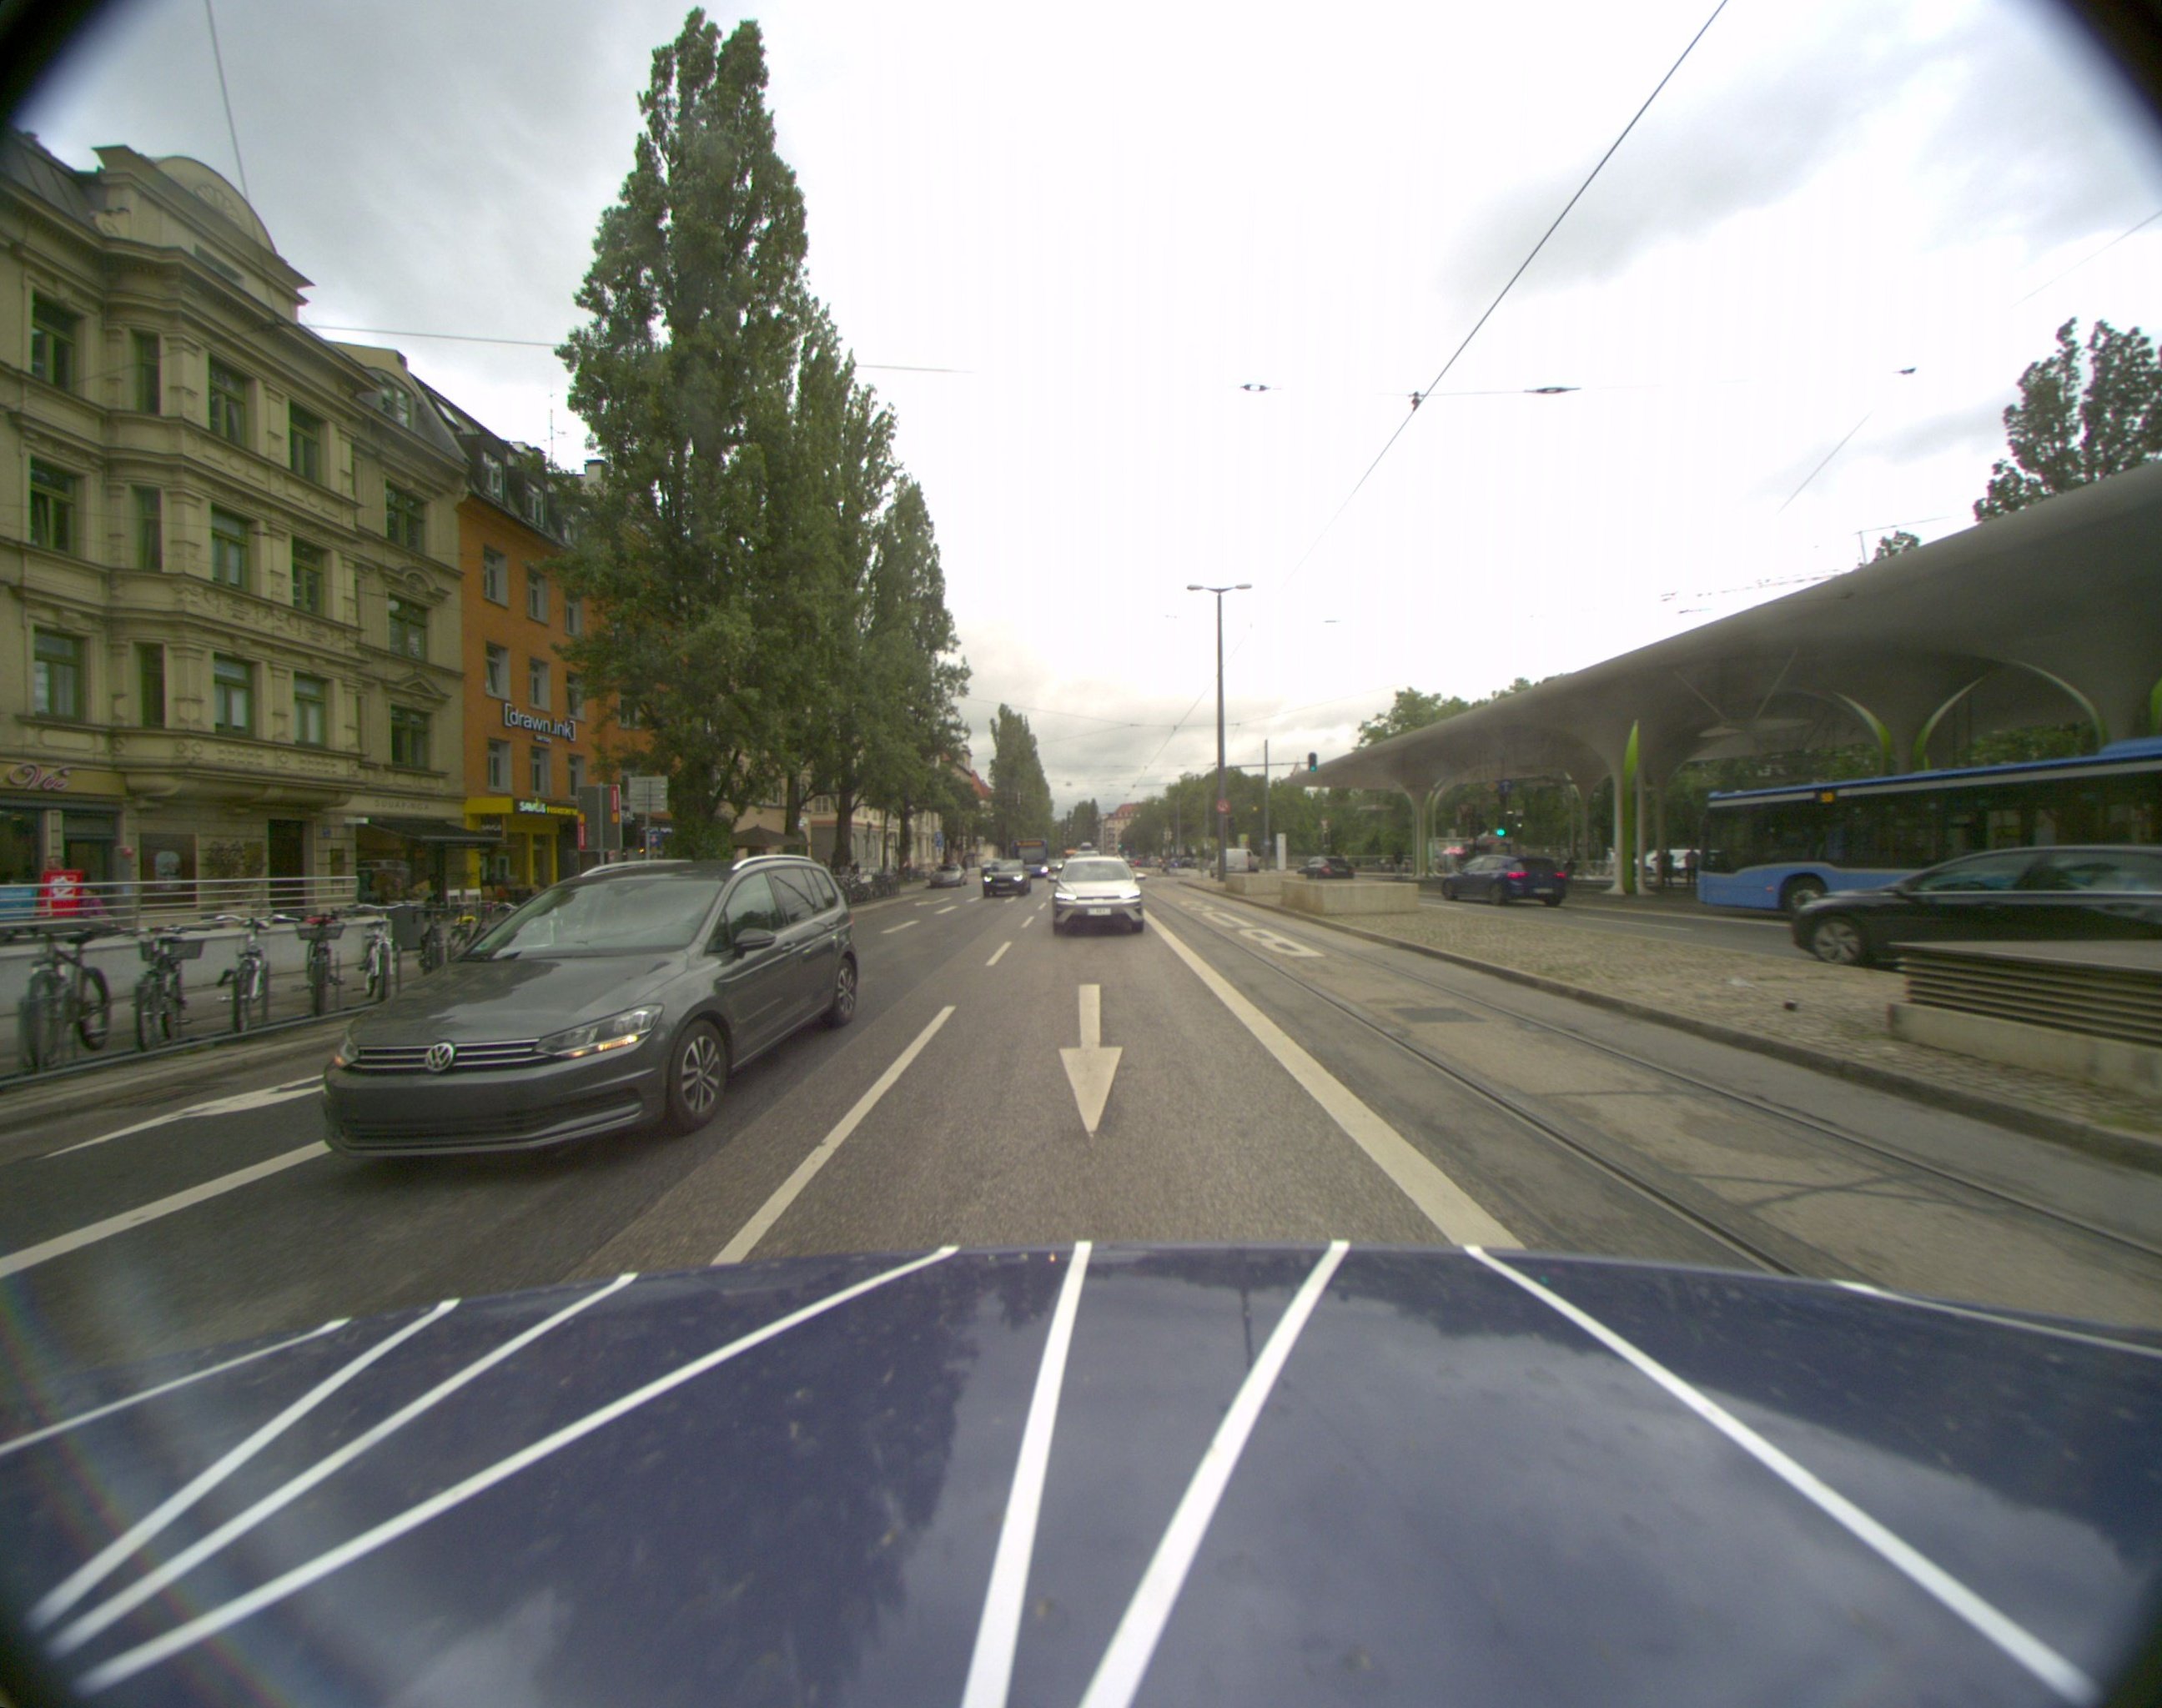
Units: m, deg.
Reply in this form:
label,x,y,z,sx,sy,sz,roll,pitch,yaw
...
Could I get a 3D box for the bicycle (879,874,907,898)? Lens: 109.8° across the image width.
label,x,y,z,sx,sy,sz,roll,pitch,yaw
bicycle,-7.896,1.343,31.818,0.376,0.990,1.837,-1,-1,-38

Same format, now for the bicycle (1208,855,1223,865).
label,x,y,z,sx,sy,sz,roll,pitch,yaw
bicycle,16.375,0.767,92.328,1.693,1.165,0.561,-1,0,-9

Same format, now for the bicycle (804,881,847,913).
label,x,y,z,sx,sy,sz,roll,pitch,yaw
bicycle,-8.094,1.360,24.043,1.837,0.990,0.326,-2,-1,38

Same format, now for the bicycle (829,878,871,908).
label,x,y,z,sx,sy,sz,roll,pitch,yaw
bicycle,-8.016,1.356,26.292,1.837,0.990,0.376,-2,-1,38

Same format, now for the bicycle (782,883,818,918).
label,x,y,z,sx,sy,sz,roll,pitch,yaw
bicycle,-8.322,1.373,22.477,0.326,0.990,1.837,-1,-1,-42

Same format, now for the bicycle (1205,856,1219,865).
label,x,y,z,sx,sy,sz,roll,pitch,yaw
bicycle,16.051,0.782,93.153,1.693,1.165,0.505,-1,0,-9

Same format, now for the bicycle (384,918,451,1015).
label,x,y,z,sx,sy,sz,roll,pitch,yaw
bicycle,-8.295,1.355,9.475,1.836,0.990,0.349,0,1,40

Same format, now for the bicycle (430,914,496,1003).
label,x,y,z,sx,sy,sz,roll,pitch,yaw
bicycle,-8.275,1.353,10.148,1.836,0.990,0.349,0,1,40

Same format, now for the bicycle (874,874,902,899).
label,x,y,z,sx,sy,sz,roll,pitch,yaw
bicycle,-7.951,1.347,31.178,0.376,0.990,1.837,-1,-1,-38

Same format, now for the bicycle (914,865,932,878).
label,x,y,z,sx,sy,sz,roll,pitch,yaw
bicycle,-13.318,1.458,64.091,0.391,0.972,1.842,-1,1,27

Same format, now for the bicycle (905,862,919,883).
label,x,y,z,sx,sy,sz,roll,pitch,yaw
bicycle,-10.520,1.131,47.396,0.424,1.280,1.778,-1,0,2

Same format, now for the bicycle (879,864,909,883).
label,x,y,z,sx,sy,sz,roll,pitch,yaw
bicycle,-12.092,1.254,49.102,1.801,1.103,0.447,-3,0,2

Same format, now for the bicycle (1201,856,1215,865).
label,x,y,z,sx,sy,sz,roll,pitch,yaw
bicycle,15.901,0.787,95.368,1.693,1.165,0.505,-1,0,-6

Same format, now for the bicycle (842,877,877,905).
label,x,y,z,sx,sy,sz,roll,pitch,yaw
bicycle,-8.069,1.357,27.667,1.837,0.990,0.376,-3,-1,45

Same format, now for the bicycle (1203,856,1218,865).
label,x,y,z,sx,sy,sz,roll,pitch,yaw
bicycle,16.002,0.784,94.085,1.693,1.165,0.561,-1,0,-9

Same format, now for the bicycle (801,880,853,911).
label,x,y,z,sx,sy,sz,roll,pitch,yaw
bicycle,-8.307,1.367,24.847,1.837,0.990,0.376,-2,-1,25

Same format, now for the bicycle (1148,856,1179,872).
label,x,y,z,sx,sy,sz,roll,pitch,yaw
bicycle,6.116,0.728,56.186,2.233,1.144,0.505,-2,1,-20

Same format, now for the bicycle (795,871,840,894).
label,x,y,z,sx,sy,sz,roll,pitch,yaw
bicycle,-12.243,1.320,35.311,1.892,1.048,0.458,-1,1,2

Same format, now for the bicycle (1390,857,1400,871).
label,x,y,z,sx,sy,sz,roll,pitch,yaw
bicycle,24.891,0.786,60.245,0.479,1.090,1.851,-1,0,14

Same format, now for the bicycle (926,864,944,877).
label,x,y,z,sx,sy,sz,roll,pitch,yaw
bicycle,-12.260,1.410,63.957,0.445,1.017,1.842,-1,1,27

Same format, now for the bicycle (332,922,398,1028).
label,x,y,z,sx,sy,sz,roll,pitch,yaw
bicycle,-8.324,1.357,8.810,1.836,0.990,0.349,0,1,40

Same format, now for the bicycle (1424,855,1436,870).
label,x,y,z,sx,sy,sz,roll,pitch,yaw
bicycle,27.375,0.664,59.638,0.479,1.090,1.851,-1,0,14

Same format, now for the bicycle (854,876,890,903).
label,x,y,z,sx,sy,sz,roll,pitch,yaw
bicycle,-7.987,1.351,28.970,1.837,0.990,0.376,-3,-1,43

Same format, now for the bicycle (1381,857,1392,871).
label,x,y,z,sx,sy,sz,roll,pitch,yaw
bicycle,24.259,0.754,60.365,0.479,1.090,1.851,-1,0,11

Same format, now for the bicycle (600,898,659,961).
label,x,y,z,sx,sy,sz,roll,pitch,yaw
bicycle,-8.218,1.351,13.804,1.836,0.990,0.349,0,1,41

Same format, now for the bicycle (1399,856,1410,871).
label,x,y,z,sx,sy,sz,roll,pitch,yaw
bicycle,25.584,0.752,60.131,0.479,1.090,1.851,-1,0,14

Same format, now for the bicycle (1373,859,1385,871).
label,x,y,z,sx,sy,sz,roll,pitch,yaw
bicycle,23.719,0.873,60.482,0.479,0.889,1.850,-1,0,9

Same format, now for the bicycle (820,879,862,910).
label,x,y,z,sx,sy,sz,roll,pitch,yaw
bicycle,-8.082,1.361,25.545,1.837,0.990,0.376,-2,-1,38

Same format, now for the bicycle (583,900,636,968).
label,x,y,z,sx,sy,sz,roll,pitch,yaw
bicycle,-8.157,1.349,13.114,1.836,0.990,0.349,1,1,45

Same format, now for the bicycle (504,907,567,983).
label,x,y,z,sx,sy,sz,roll,pitch,yaw
bicycle,-8.356,1.355,11.612,1.836,0.990,0.349,0,1,40

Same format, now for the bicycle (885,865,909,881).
label,x,y,z,sx,sy,sz,roll,pitch,yaw
bicycle,-12.811,1.324,52.907,1.576,1.044,0.392,-2,1,2

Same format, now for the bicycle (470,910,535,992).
label,x,y,z,sx,sy,sz,roll,pitch,yaw
bicycle,-8.362,1.356,10.957,1.836,0.990,0.349,0,1,40

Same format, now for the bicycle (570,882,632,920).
label,x,y,z,sx,sy,sz,roll,pitch,yaw
bicycle,-13.971,1.361,22.106,1.725,1.039,0.388,-2,-1,12

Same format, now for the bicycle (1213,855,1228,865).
label,x,y,z,sx,sy,sz,roll,pitch,yaw
bicycle,16.721,0.752,91.161,1.693,1.165,0.561,-1,0,-9

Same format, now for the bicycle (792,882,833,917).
label,x,y,z,sx,sy,sz,roll,pitch,yaw
bicycle,-8.068,1.360,22.778,1.837,0.990,0.326,-3,-1,43

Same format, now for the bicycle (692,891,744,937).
label,x,y,z,sx,sy,sz,roll,pitch,yaw
bicycle,-8.267,1.349,17.277,1.837,0.990,0.326,-2,-1,41

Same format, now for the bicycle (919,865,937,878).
label,x,y,z,sx,sy,sz,roll,pitch,yaw
bicycle,-12.869,1.429,64.040,0.391,1.017,1.842,-1,1,27

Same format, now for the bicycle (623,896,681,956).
label,x,y,z,sx,sy,sz,roll,pitch,yaw
bicycle,-8.185,1.348,14.469,1.836,0.990,0.349,0,1,41

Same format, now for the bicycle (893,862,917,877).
label,x,y,z,sx,sy,sz,roll,pitch,yaw
bicycle,-14.912,1.307,64.424,1.890,1.147,0.464,-2,1,-42

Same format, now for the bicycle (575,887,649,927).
label,x,y,z,sx,sy,sz,roll,pitch,yaw
bicycle,-13.068,1.477,21.192,1.727,1.039,0.387,-1,-1,-5

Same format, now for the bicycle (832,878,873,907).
label,x,y,z,sx,sy,sz,roll,pitch,yaw
bicycle,-8.118,1.361,26.930,1.837,0.990,0.376,-2,-1,38

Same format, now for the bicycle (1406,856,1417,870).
label,x,y,z,sx,sy,sz,roll,pitch,yaw
bicycle,26.102,0.726,60.036,0.479,1.090,1.851,-1,0,14

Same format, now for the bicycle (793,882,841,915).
label,x,y,z,sx,sy,sz,roll,pitch,yaw
bicycle,-8.158,1.364,23.430,1.837,0.990,0.326,-2,-1,33

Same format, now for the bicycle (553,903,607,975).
label,x,y,z,sx,sy,sz,roll,pitch,yaw
bicycle,-8.193,1.351,12.397,1.836,0.990,0.349,1,1,45

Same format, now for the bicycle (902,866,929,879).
label,x,y,z,sx,sy,sz,roll,pitch,yaw
bicycle,-11.966,1.329,54.842,1.837,0.911,0.392,-2,1,2

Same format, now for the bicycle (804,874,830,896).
label,x,y,z,sx,sy,sz,roll,pitch,yaw
bicycle,-11.492,1.330,33.104,0.458,0.887,1.893,-1,0,0

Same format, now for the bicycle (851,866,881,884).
label,x,y,z,sx,sy,sz,roll,pitch,yaw
bicycle,-13.911,1.344,49.114,1.801,1.103,0.447,-2,0,2

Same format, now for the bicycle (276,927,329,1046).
label,x,y,z,sx,sy,sz,roll,pitch,yaw
bicycle,-8.328,1.358,8.123,1.836,0.990,0.349,1,1,44

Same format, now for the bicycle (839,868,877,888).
label,x,y,z,sx,sy,sz,roll,pitch,yaw
bicycle,-12.030,1.288,41.013,1.892,1.048,0.458,-1,1,-2

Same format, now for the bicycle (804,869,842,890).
label,x,y,z,sx,sy,sz,roll,pitch,yaw
bicycle,-13.902,1.381,40.994,1.892,1.107,0.458,-1,1,-2

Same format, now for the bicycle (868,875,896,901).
label,x,y,z,sx,sy,sz,roll,pitch,yaw
bicycle,-7.983,1.349,30.414,0.376,0.990,1.837,-1,-1,-38

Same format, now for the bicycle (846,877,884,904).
label,x,y,z,sx,sy,sz,roll,pitch,yaw
bicycle,-8.056,1.356,28.290,1.837,0.990,0.376,-2,-1,39

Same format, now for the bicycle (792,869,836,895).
label,x,y,z,sx,sy,sz,roll,pitch,yaw
bicycle,-12.728,1.342,36.245,1.892,1.167,0.582,-1,1,2

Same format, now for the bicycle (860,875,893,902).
label,x,y,z,sx,sy,sz,roll,pitch,yaw
bicycle,-8.016,1.352,29.720,0.376,0.990,1.837,-1,-1,-44
